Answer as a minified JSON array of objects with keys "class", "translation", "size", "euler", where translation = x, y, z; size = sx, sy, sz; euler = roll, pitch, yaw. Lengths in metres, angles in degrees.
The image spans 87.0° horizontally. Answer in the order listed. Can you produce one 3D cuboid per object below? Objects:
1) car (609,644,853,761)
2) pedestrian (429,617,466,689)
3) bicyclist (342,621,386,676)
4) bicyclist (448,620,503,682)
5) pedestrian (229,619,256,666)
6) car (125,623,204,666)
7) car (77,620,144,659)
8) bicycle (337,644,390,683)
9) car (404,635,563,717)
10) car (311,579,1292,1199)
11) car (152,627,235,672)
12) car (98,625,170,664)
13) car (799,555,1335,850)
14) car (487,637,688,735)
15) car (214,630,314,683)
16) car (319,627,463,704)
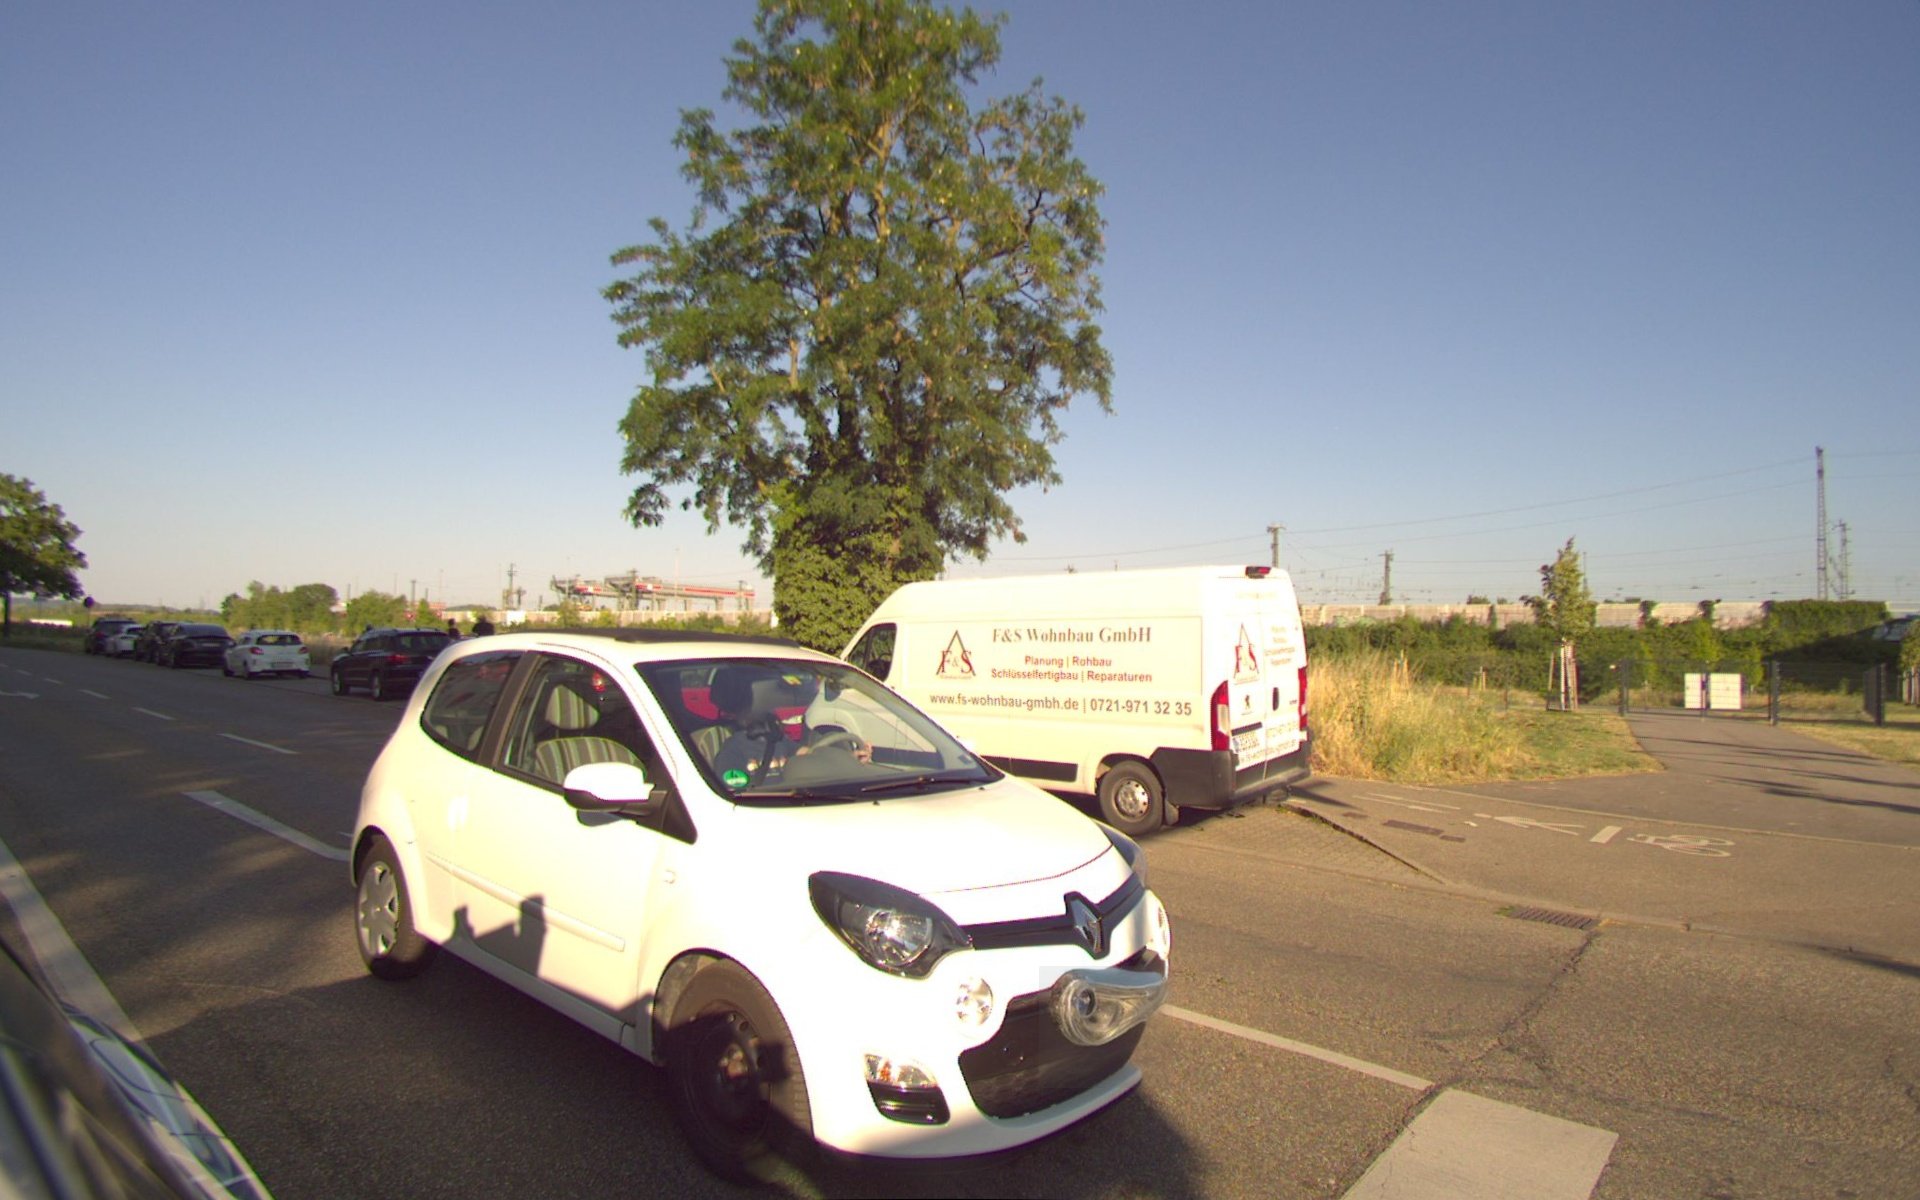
[{"class":"car","translation":[-3.550,1.470,15.394],"size":[3.692,1.498,1.723],"euler":[-1,-4,40]},{"class":"pedestrian","translation":[-14.615,1.515,28.867],"size":[0.729,2.029,0.608],"euler":[-1,-4,39]},{"class":"bicyclist","translation":[-17.844,1.448,30.289],"size":[1.146,1.609,0.758],"euler":[-1,-4,43]},{"class":"bicyclist","translation":[-12.873,1.358,26.896],"size":[1.145,1.609,0.855],"euler":[-1,-4,41]},{"class":"pedestrian","translation":[-31.038,1.837,43.776],"size":[0.710,2.029,0.697],"euler":[-1,-4,42]},{"class":"car","translation":[-32.383,1.804,41.148],"size":[4.219,1.650,1.799],"euler":[-1,-4,43]},{"class":"car","translation":[-40.840,1.886,48.606],"size":[4.219,1.789,1.866],"euler":[-1,-4,43]},{"class":"bicycle","translation":[-17.874,1.905,30.311],"size":[2.163,1.098,0.738],"euler":[-1,-4,43]},{"class":"car","translation":[-10.015,1.542,21.195],"size":[3.577,1.541,1.642],"euler":[-1,-4,40]},{"class":"car","translation":[-0.870,0.770,3.940],"size":[3.772,1.480,1.683],"euler":[-1,-4,40]},{"class":"car","translation":[-28.234,1.808,37.226],"size":[1.798,1.538,4.292],"euler":[5,-4,-45]},{"class":"car","translation":[-36.470,1.943,44.659],"size":[4.219,1.586,1.799],"euler":[-1,-4,43]},{"class":"car","translation":[0.927,0.891,11.080],"size":[5.556,2.455,2.207],"euler":[-1,-1,40]},{"class":"car","translation":[-6.800,1.491,18.316],"size":[3.814,1.541,1.723],"euler":[-1,-4,40]},{"class":"car","translation":[-21.559,1.725,31.290],"size":[3.582,1.538,1.684],"euler":[-1,-4,42]},{"class":"car","translation":[-13.598,1.520,24.114],"size":[4.003,1.672,1.642],"euler":[-1,-4,40]}]
